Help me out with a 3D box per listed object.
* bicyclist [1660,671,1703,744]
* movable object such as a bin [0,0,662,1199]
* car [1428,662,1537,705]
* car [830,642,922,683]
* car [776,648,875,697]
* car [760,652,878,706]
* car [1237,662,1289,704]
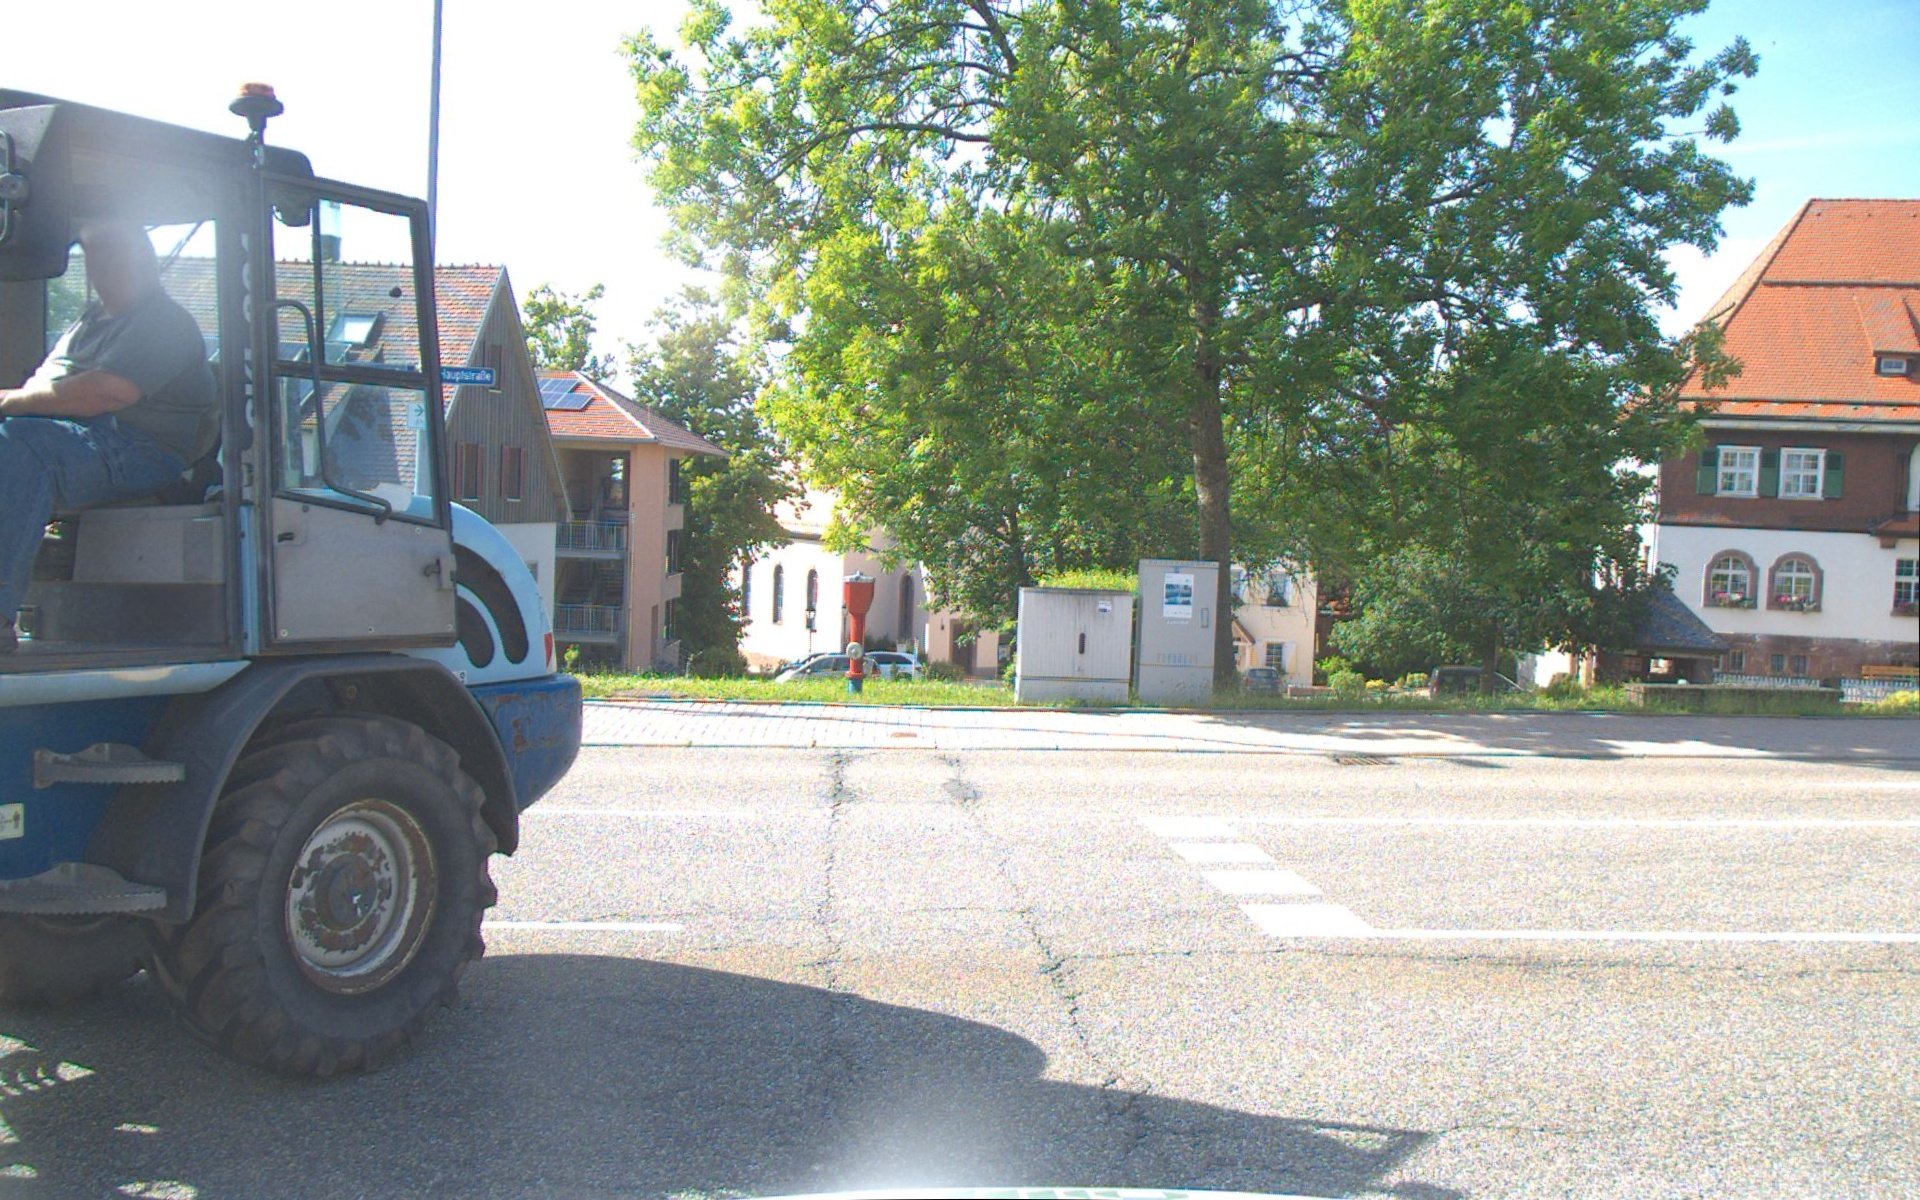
[{"bbox_3d":[20.146,2.989,46.193,0.973,1.959,0.582,1,-1,14],"label":"bicyclist"},{"bbox_3d":[-2.928,-0.051,3.873,1.953,2.817,5.105,2,1,22],"label":"movable object such as a bin"},{"bbox_3d":[19.490,3.102,61.797,3.692,1.470,1.715,1,-1,11],"label":"car"},{"bbox_3d":[-3.495,2.577,68.400,3.700,1.621,1.711,1,-1,-7],"label":"car"},{"bbox_3d":[-5.177,2.779,63.350,3.700,1.789,1.711,1,-1,-7],"label":"car"},{"bbox_3d":[-4.907,2.735,57.530,4.011,1.789,1.711,1,-1,-6],"label":"car"},{"bbox_3d":[12.436,3.386,68.061,1.672,1.569,3.787,1,0,3],"label":"car"}]
